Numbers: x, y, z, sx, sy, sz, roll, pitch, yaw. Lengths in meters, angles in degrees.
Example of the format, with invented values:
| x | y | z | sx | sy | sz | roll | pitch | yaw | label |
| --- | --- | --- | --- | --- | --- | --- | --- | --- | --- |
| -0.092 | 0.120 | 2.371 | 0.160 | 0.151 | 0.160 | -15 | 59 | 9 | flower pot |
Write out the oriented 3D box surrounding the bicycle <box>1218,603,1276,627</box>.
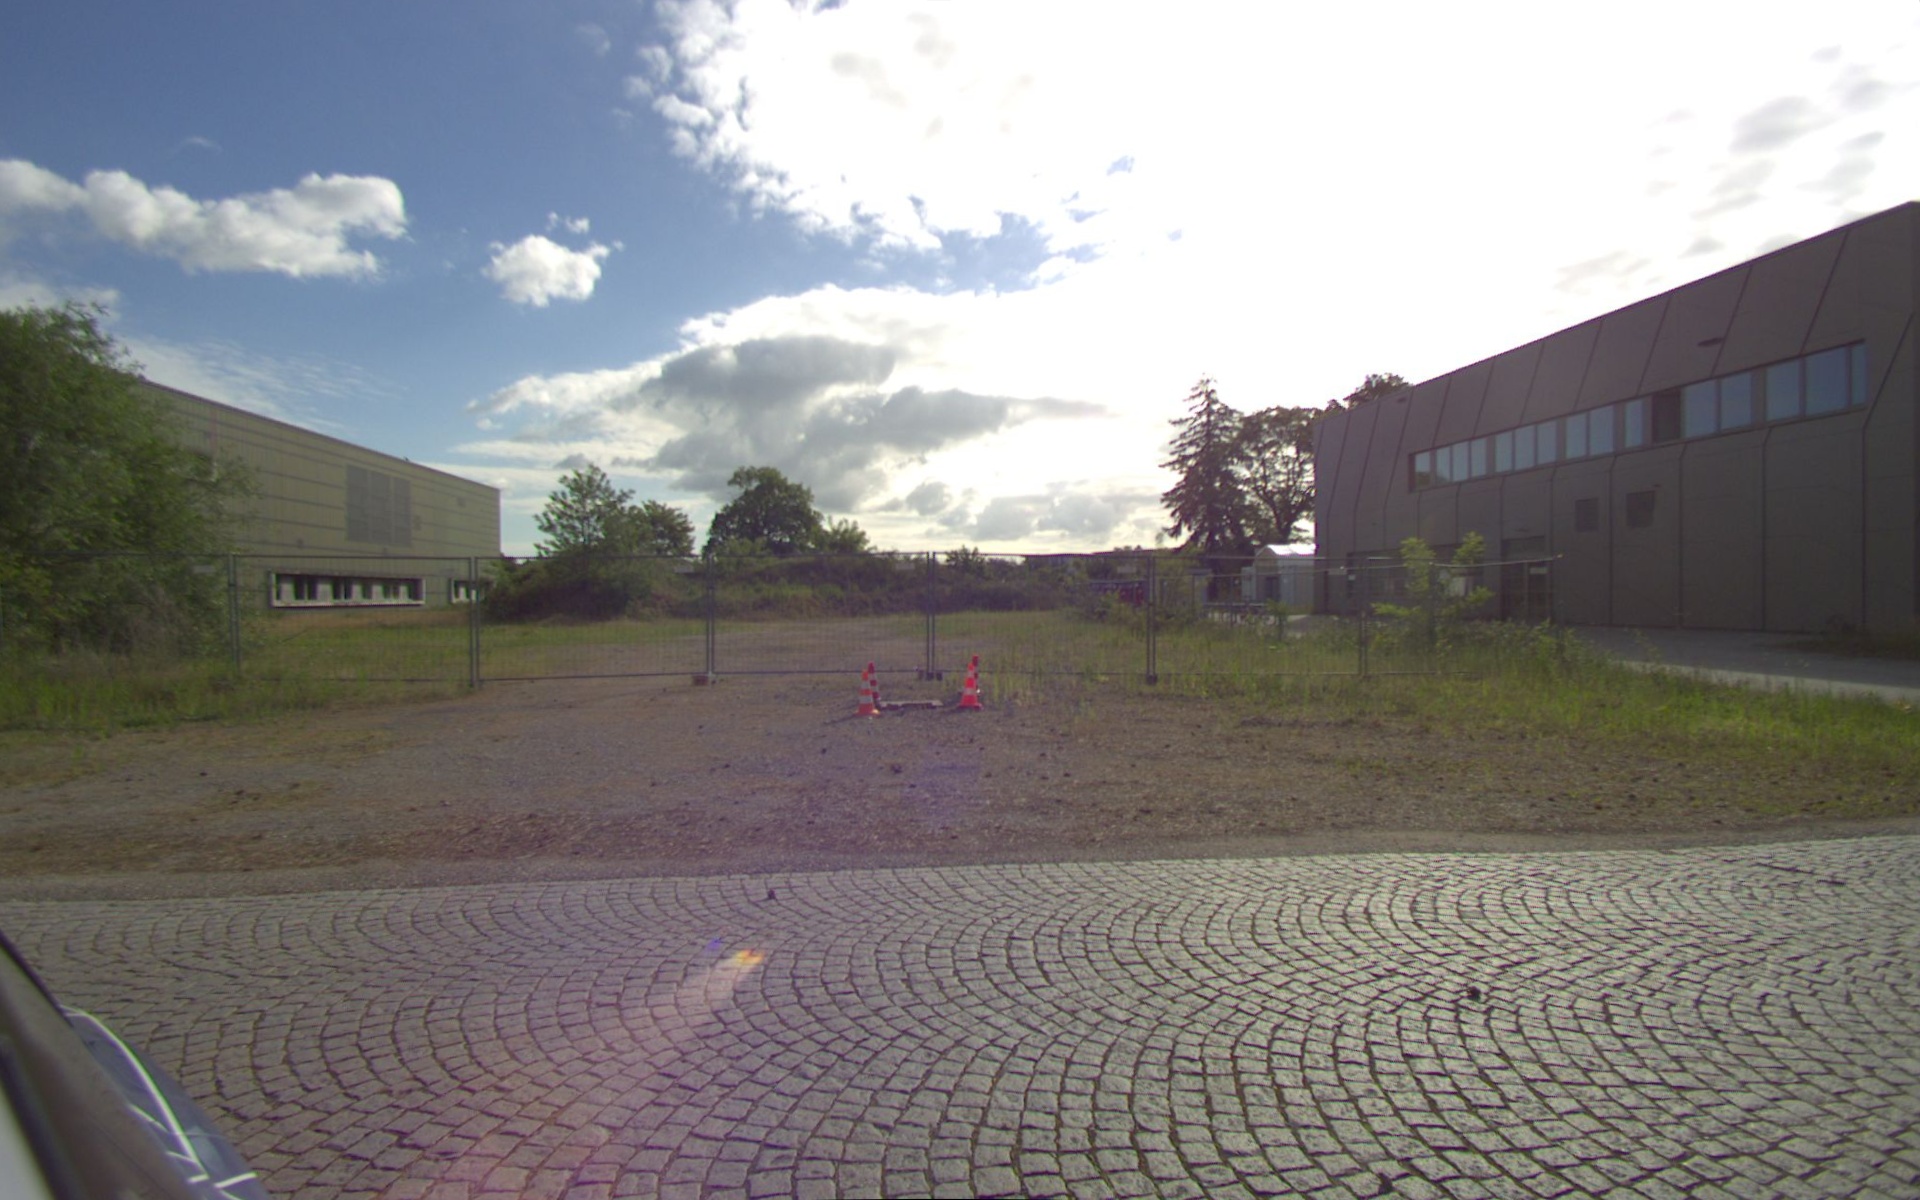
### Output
| x | y | z | sx | sy | sz | roll | pitch | yaw | label |
| --- | --- | --- | --- | --- | --- | --- | --- | --- | --- |
| 11.758 | 0.608 | 41.466 | 2.036 | 0.928 | 0.948 | -1 | 0 | -8 | bicycle |

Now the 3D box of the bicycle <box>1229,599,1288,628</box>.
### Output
| x | y | z | sx | sy | sz | roll | pitch | yaw | label |
| --- | --- | --- | --- | --- | --- | --- | --- | --- | --- |
| 11.850 | 0.528 | 40.214 | 2.036 | 1.095 | 0.948 | -1 | 0 | -8 | bicycle |
